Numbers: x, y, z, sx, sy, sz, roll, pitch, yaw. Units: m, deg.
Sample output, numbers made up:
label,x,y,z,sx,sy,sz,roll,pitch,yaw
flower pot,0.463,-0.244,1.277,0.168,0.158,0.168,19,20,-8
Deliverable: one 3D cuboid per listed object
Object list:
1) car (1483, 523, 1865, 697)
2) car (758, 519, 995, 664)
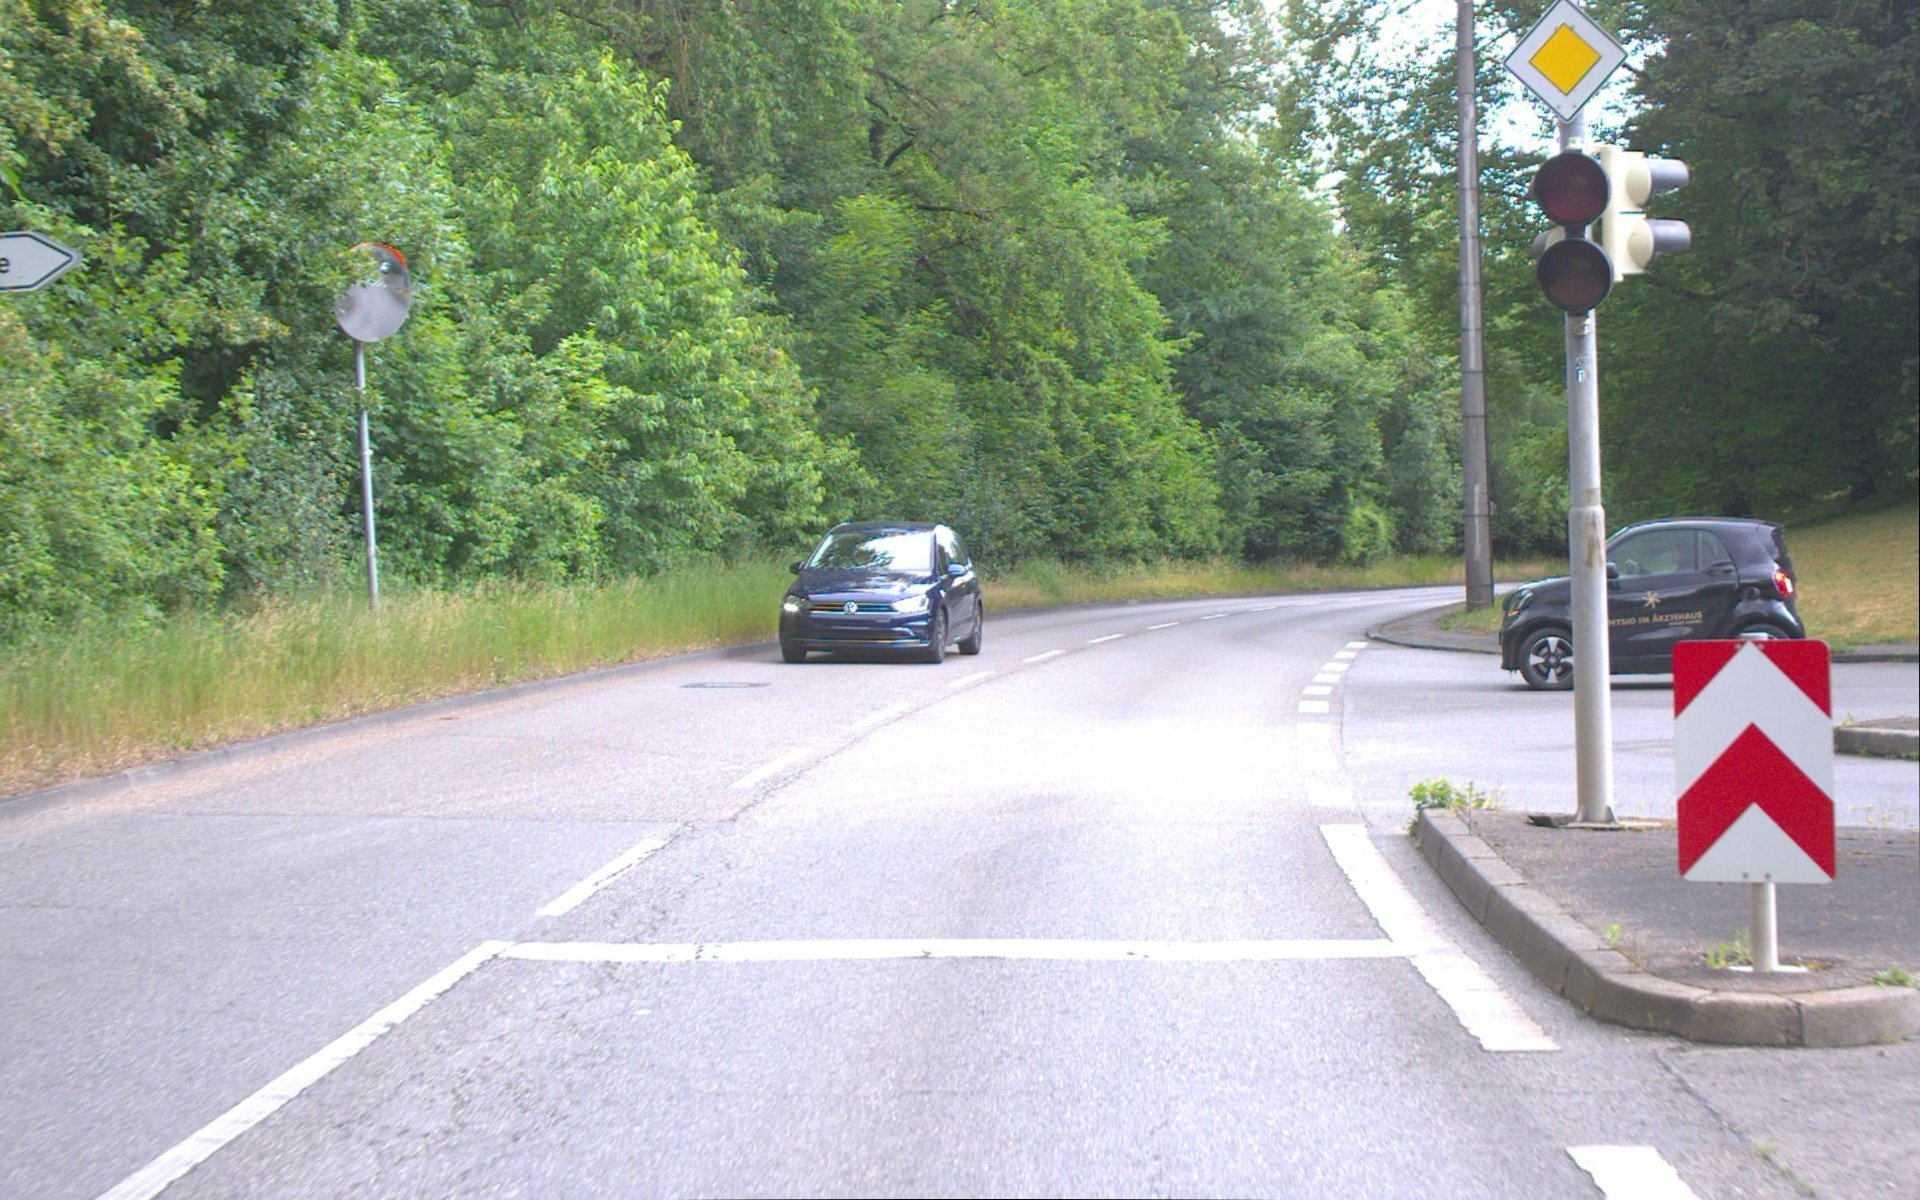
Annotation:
label,x,y,z,sx,sy,sz,roll,pitch,yaw
car,6.496,0.079,31.461,3.305,1.489,1.667,-1,1,11
car,-0.866,-0.134,38.940,1.789,1.509,4.840,1,1,9
